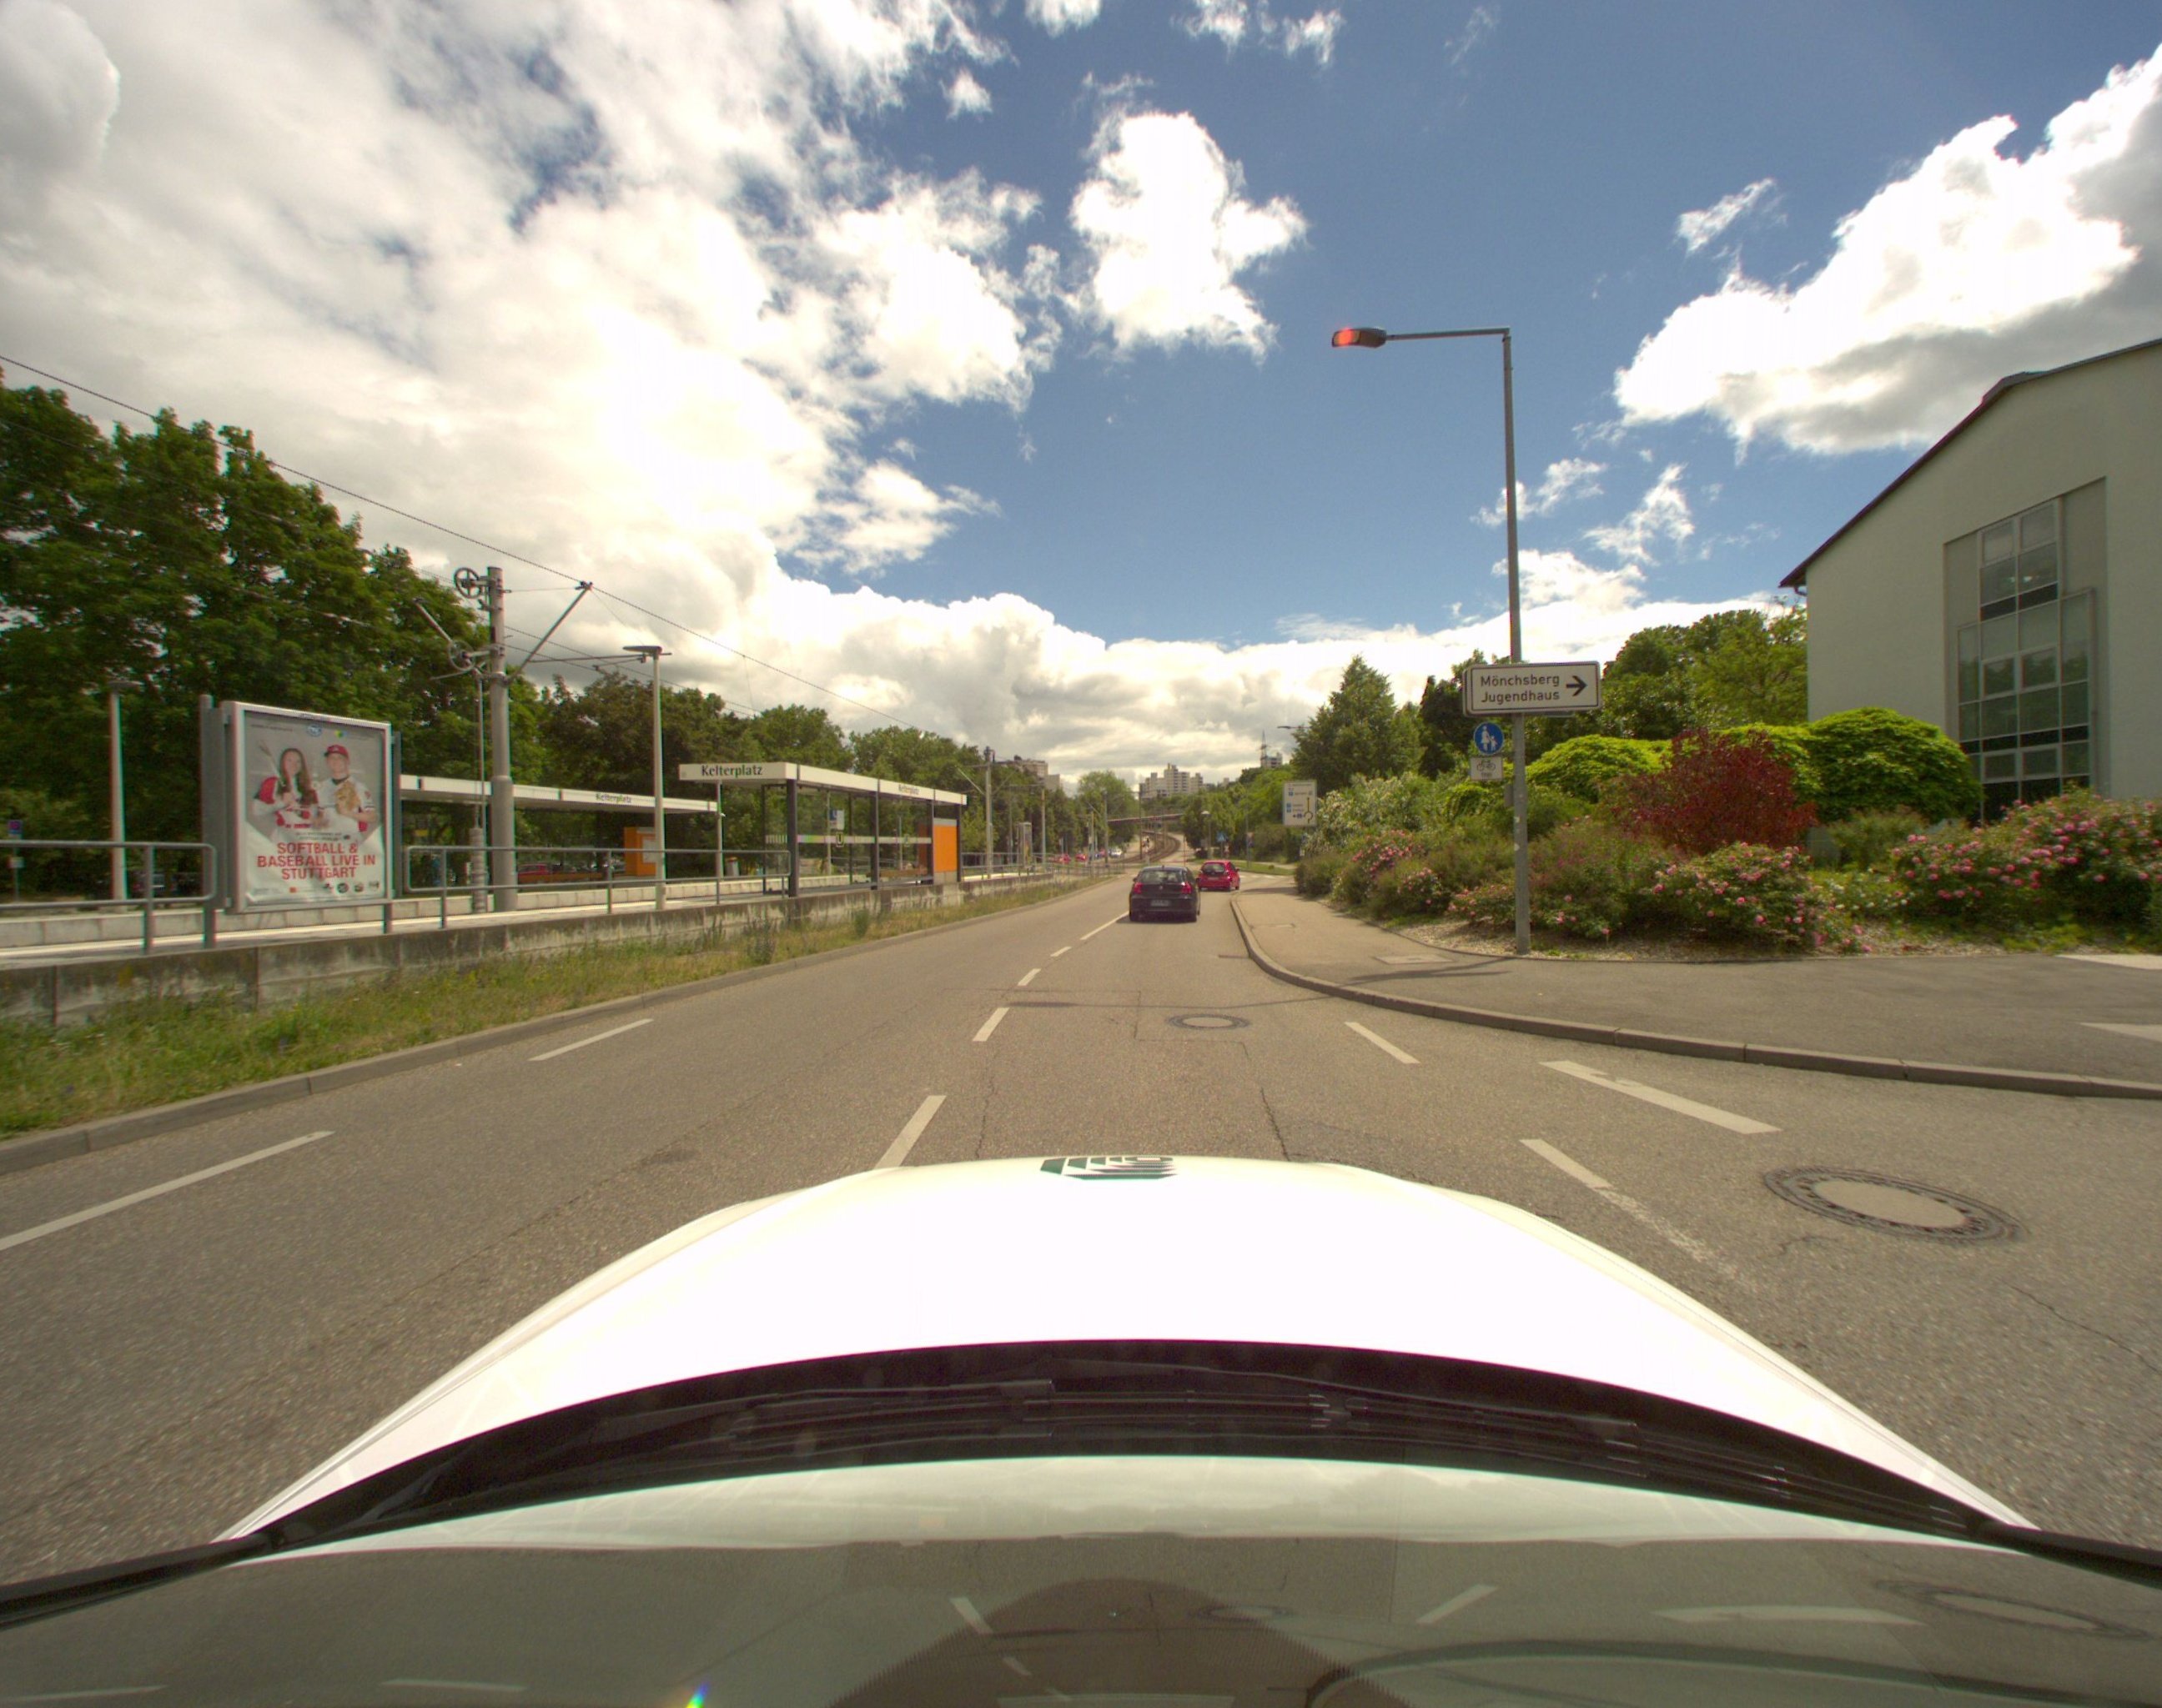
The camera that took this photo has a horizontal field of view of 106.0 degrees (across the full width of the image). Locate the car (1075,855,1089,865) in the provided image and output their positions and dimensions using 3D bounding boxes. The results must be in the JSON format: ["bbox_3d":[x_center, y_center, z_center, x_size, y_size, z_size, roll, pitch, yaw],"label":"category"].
[{"bbox_3d":[0.118,0.927,122.992,1.519,1.370,3.607,-1,0,10],"label":"car"}]

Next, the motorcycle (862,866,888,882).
[{"bbox_3d":[-14.572,1.390,57.624,0.723,1.081,2.225,-1,0,17],"label":"motorcycle"}]

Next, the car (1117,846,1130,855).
[{"bbox_3d":[8.827,-0.690,170.174,1.980,1.863,4.015,-1,1,13],"label":"car"}]

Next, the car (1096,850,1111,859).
[{"bbox_3d":[4.063,0.124,143.919,1.899,1.561,4.014,-1,0,12],"label":"car"}]

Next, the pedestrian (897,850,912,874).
[{"bbox_3d":[-15.637,0.707,72.000,0.951,2.013,0.827,0,1,28],"label":"pedestrian"}]

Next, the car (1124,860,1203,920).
[{"bbox_3d":[2.301,0.918,21.882,1.804,1.421,4.011,-2,-1,10],"label":"car"}]

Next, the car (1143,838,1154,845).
[{"bbox_3d":[17.011,-3.092,206.117,1.979,1.597,4.437,-1,0,15],"label":"car"}]

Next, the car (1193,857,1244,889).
[{"bbox_3d":[6.616,0.881,39.046,1.751,1.432,3.496,-2,-1,20],"label":"car"}]

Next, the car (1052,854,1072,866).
[{"bbox_3d":[-2.468,0.806,105.329,1.706,1.503,2.980,-1,0,17],"label":"car"}]

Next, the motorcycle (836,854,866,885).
[{"bbox_3d":[-15.369,1.040,54.386,0.826,2.013,1.993,-1,0,23],"label":"motorcycle"}]

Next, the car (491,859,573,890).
[{"bbox_3d":[-33.252,1.227,49.355,3.614,1.705,2.058,-1,1,9],"label":"car"}]
